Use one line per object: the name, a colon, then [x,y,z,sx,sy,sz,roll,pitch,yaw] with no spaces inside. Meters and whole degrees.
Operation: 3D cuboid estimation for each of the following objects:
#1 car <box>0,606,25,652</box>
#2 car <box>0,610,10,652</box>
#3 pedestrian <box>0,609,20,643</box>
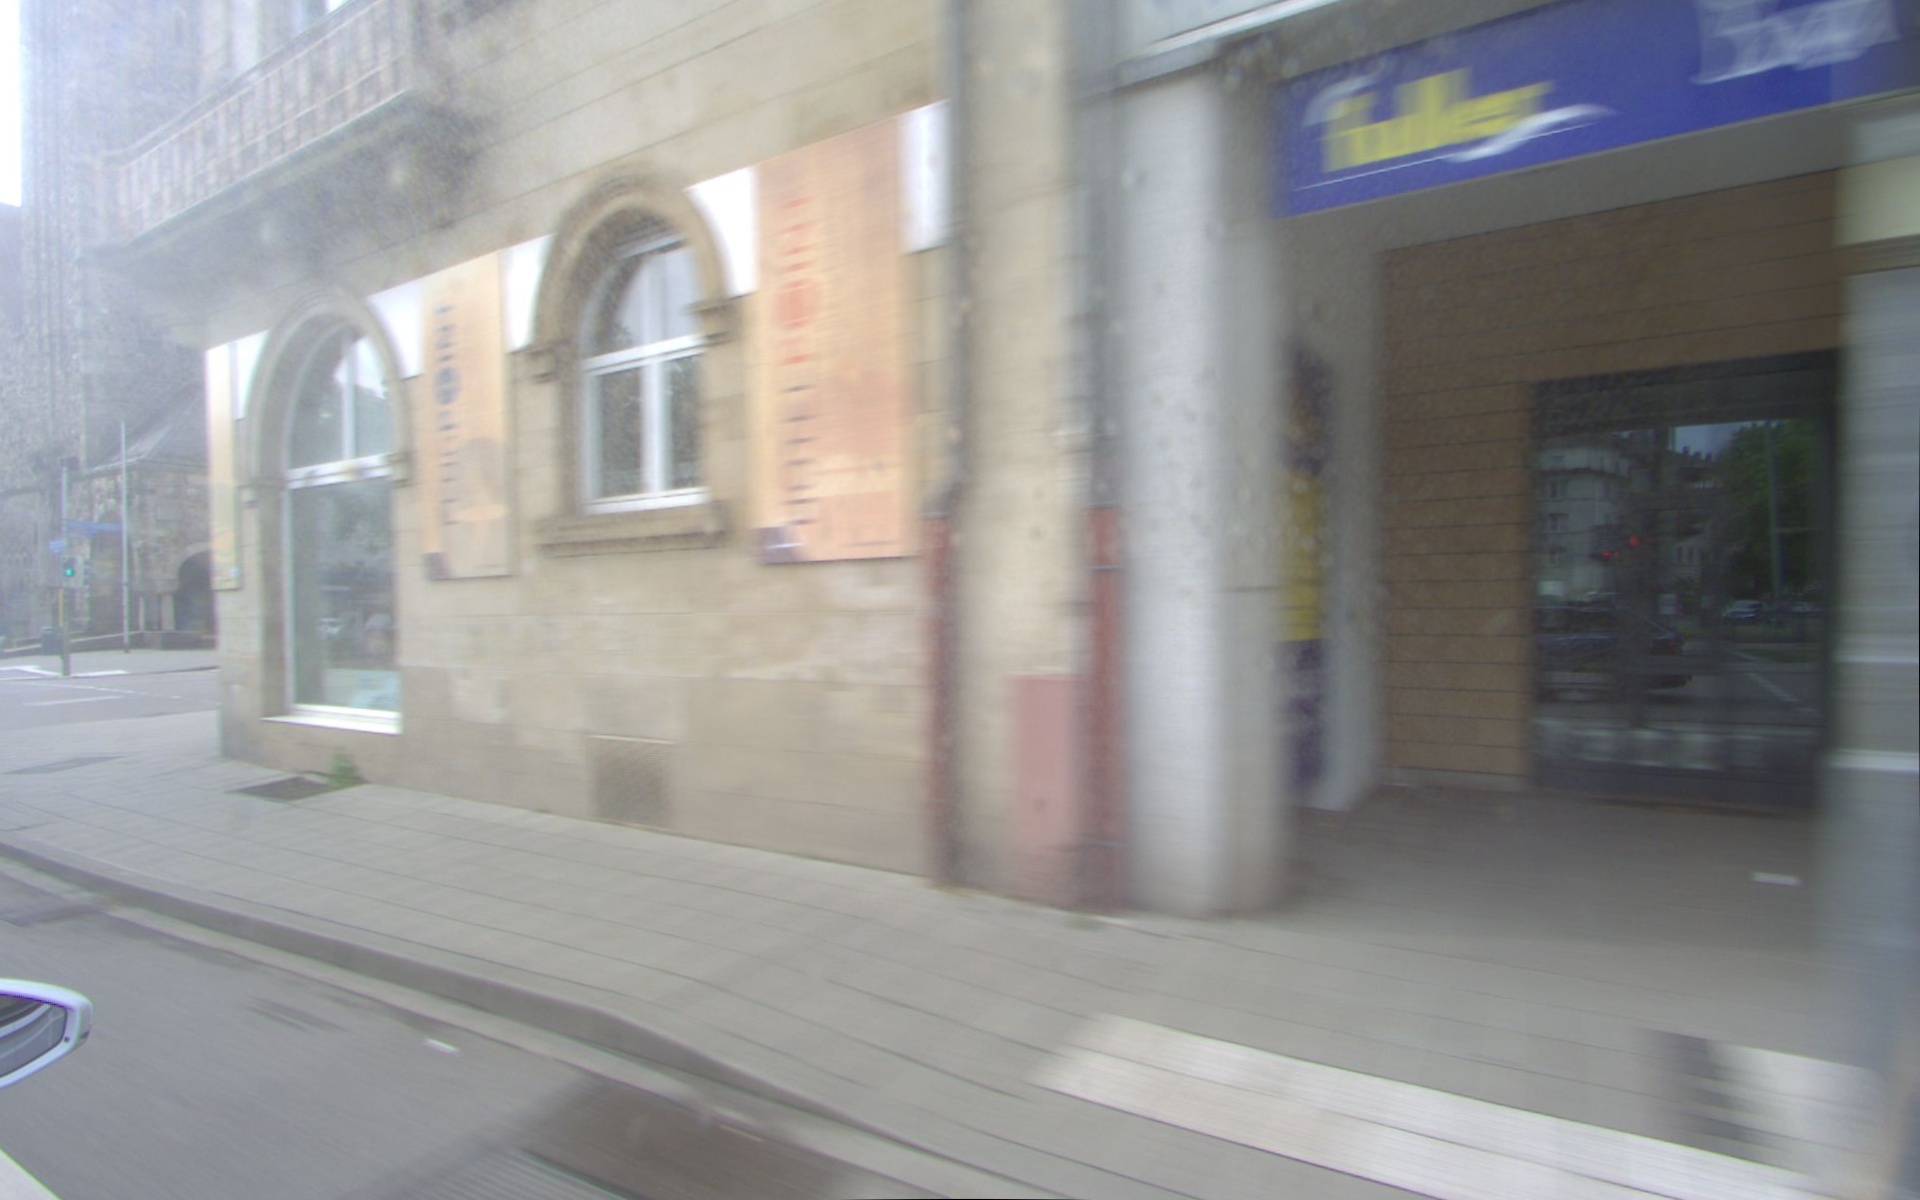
car: [-41.256,1.157,40.646,1.639,1.905,4.603,0,-1,32]
car: [-39.007,1.161,37.786,1.639,1.657,4.341,0,-1,32]
pedestrian: [-35.511,0.961,37.290,0.731,1.244,1.053,1,-1,-43]
